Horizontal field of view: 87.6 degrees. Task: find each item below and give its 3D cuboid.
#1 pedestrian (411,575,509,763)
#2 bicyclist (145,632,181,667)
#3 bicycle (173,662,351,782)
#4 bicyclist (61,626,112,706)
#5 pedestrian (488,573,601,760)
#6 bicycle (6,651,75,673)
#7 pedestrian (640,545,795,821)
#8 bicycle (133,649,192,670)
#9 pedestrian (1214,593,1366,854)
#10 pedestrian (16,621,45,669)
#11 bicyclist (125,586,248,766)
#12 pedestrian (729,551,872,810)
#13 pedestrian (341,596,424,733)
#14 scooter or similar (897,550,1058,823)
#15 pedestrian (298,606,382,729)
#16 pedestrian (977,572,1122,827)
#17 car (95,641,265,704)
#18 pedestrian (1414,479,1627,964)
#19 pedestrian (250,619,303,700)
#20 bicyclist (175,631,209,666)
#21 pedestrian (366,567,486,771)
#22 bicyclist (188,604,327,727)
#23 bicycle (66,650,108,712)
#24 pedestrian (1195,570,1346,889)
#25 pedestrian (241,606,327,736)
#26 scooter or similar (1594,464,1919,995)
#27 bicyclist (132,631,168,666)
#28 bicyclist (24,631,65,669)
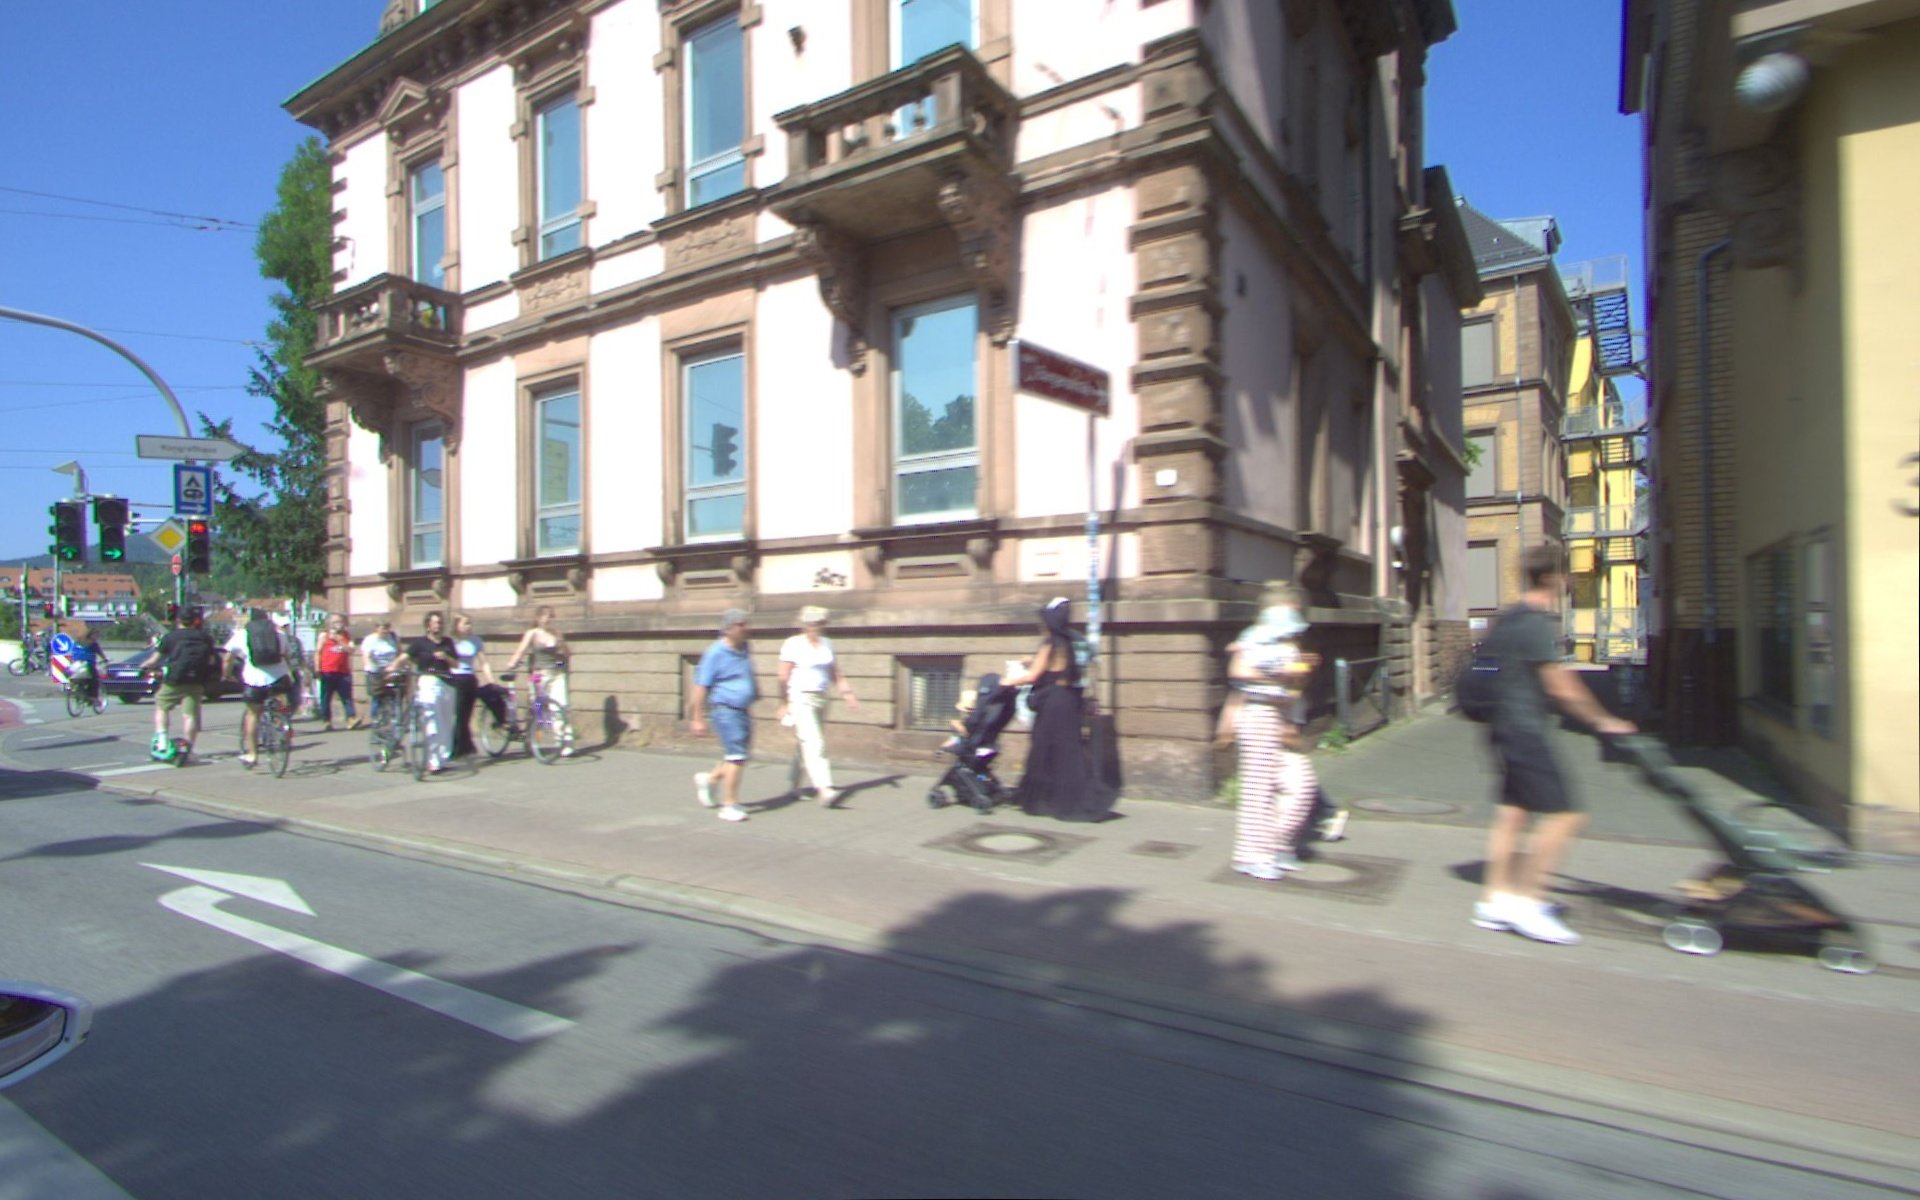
[{"bbox_3d":[-5.638,0.745,11.307,0.689,2.041,0.658,-1,2,32],"label":"pedestrian"},{"bbox_3d":[-34.803,2.144,43.712,1.068,1.492,0.758,2,-2,-29],"label":"bicyclist"},{"bbox_3d":[-7.481,1.249,10.703,2.108,1.117,0.777,-1,-1,31],"label":"bicycle"},{"bbox_3d":[-17.867,1.321,20.488,0.769,1.573,1.050,1,-1,-41],"label":"bicyclist"},{"bbox_3d":[-4.731,0.724,11.425,0.803,2.041,0.810,-1,2,32],"label":"pedestrian"},{"bbox_3d":[-36.195,2.441,39.444,0.559,0.837,1.930,-1,-3,42],"label":"bicycle"},{"bbox_3d":[-1.911,0.616,7.943,0.803,2.041,0.810,-1,2,32],"label":"pedestrian"},{"bbox_3d":[-34.779,2.598,43.705,1.917,0.864,0.563,3,-2,-29],"label":"bicycle"},{"bbox_3d":[2.258,0.780,6.819,0.803,1.624,0.810,-1,2,32],"label":"pedestrian"},{"bbox_3d":[-36.988,1.767,39.841,0.637,1.880,0.770,-1,0,40],"label":"pedestrian"},{"bbox_3d":[-9.264,0.878,12.003,0.818,2.040,0.940,-1,0,32],"label":"bicyclist"},{"bbox_3d":[-1.332,0.635,8.443,0.803,2.041,0.810,-1,2,32],"label":"pedestrian"},{"bbox_3d":[-8.378,0.908,14.530,0.890,1.917,0.633,0,2,31],"label":"pedestrian"},{"bbox_3d":[0.142,0.661,8.051,1.080,2.040,0.691,-1,0,32],"label":"scooter or similar"},{"bbox_3d":[-9.313,0.997,15.054,0.890,1.775,0.704,-2,0,31],"label":"pedestrian"},{"bbox_3d":[0.701,0.710,7.697,0.803,1.817,0.810,-1,2,32],"label":"pedestrian"},{"bbox_3d":[-20.439,1.871,26.479,1.963,1.455,3.997,1,-1,-12],"label":"car"},{"bbox_3d":[2.666,0.520,4.773,0.803,2.040,0.810,-1,1,32],"label":"pedestrian"},{"bbox_3d":[-17.584,1.504,25.765,1.045,2.040,0.773,-1,0,33],"label":"pedestrian"},{"bbox_3d":[-34.322,2.168,44.735,1.073,1.492,0.919,3,-3,-44],"label":"bicyclist"},{"bbox_3d":[-5.642,0.701,10.594,0.803,2.040,0.810,-1,0,32],"label":"pedestrian"},{"bbox_3d":[-7.523,0.673,10.738,0.958,1.235,0.919,-1,-1,32],"label":"bicyclist"},{"bbox_3d":[-17.910,1.635,20.553,0.610,1.179,2.230,1,-2,-41],"label":"bicycle"},{"bbox_3d":[1.827,0.710,5.862,0.620,1.716,0.703,-2,-1,35],"label":"pedestrian"},{"bbox_3d":[-9.693,0.991,14.361,0.890,1.792,0.704,-1,0,31],"label":"pedestrian"},{"bbox_3d":[3.446,0.511,4.406,1.080,2.040,0.691,-1,0,32],"label":"scooter or similar"},{"bbox_3d":[-35.688,2.144,44.129,0.918,1.492,1.074,-1,-3,44],"label":"bicyclist"},{"bbox_3d":[-36.168,1.969,39.548,0.791,1.492,1.075,-1,-3,42],"label":"bicyclist"}]
